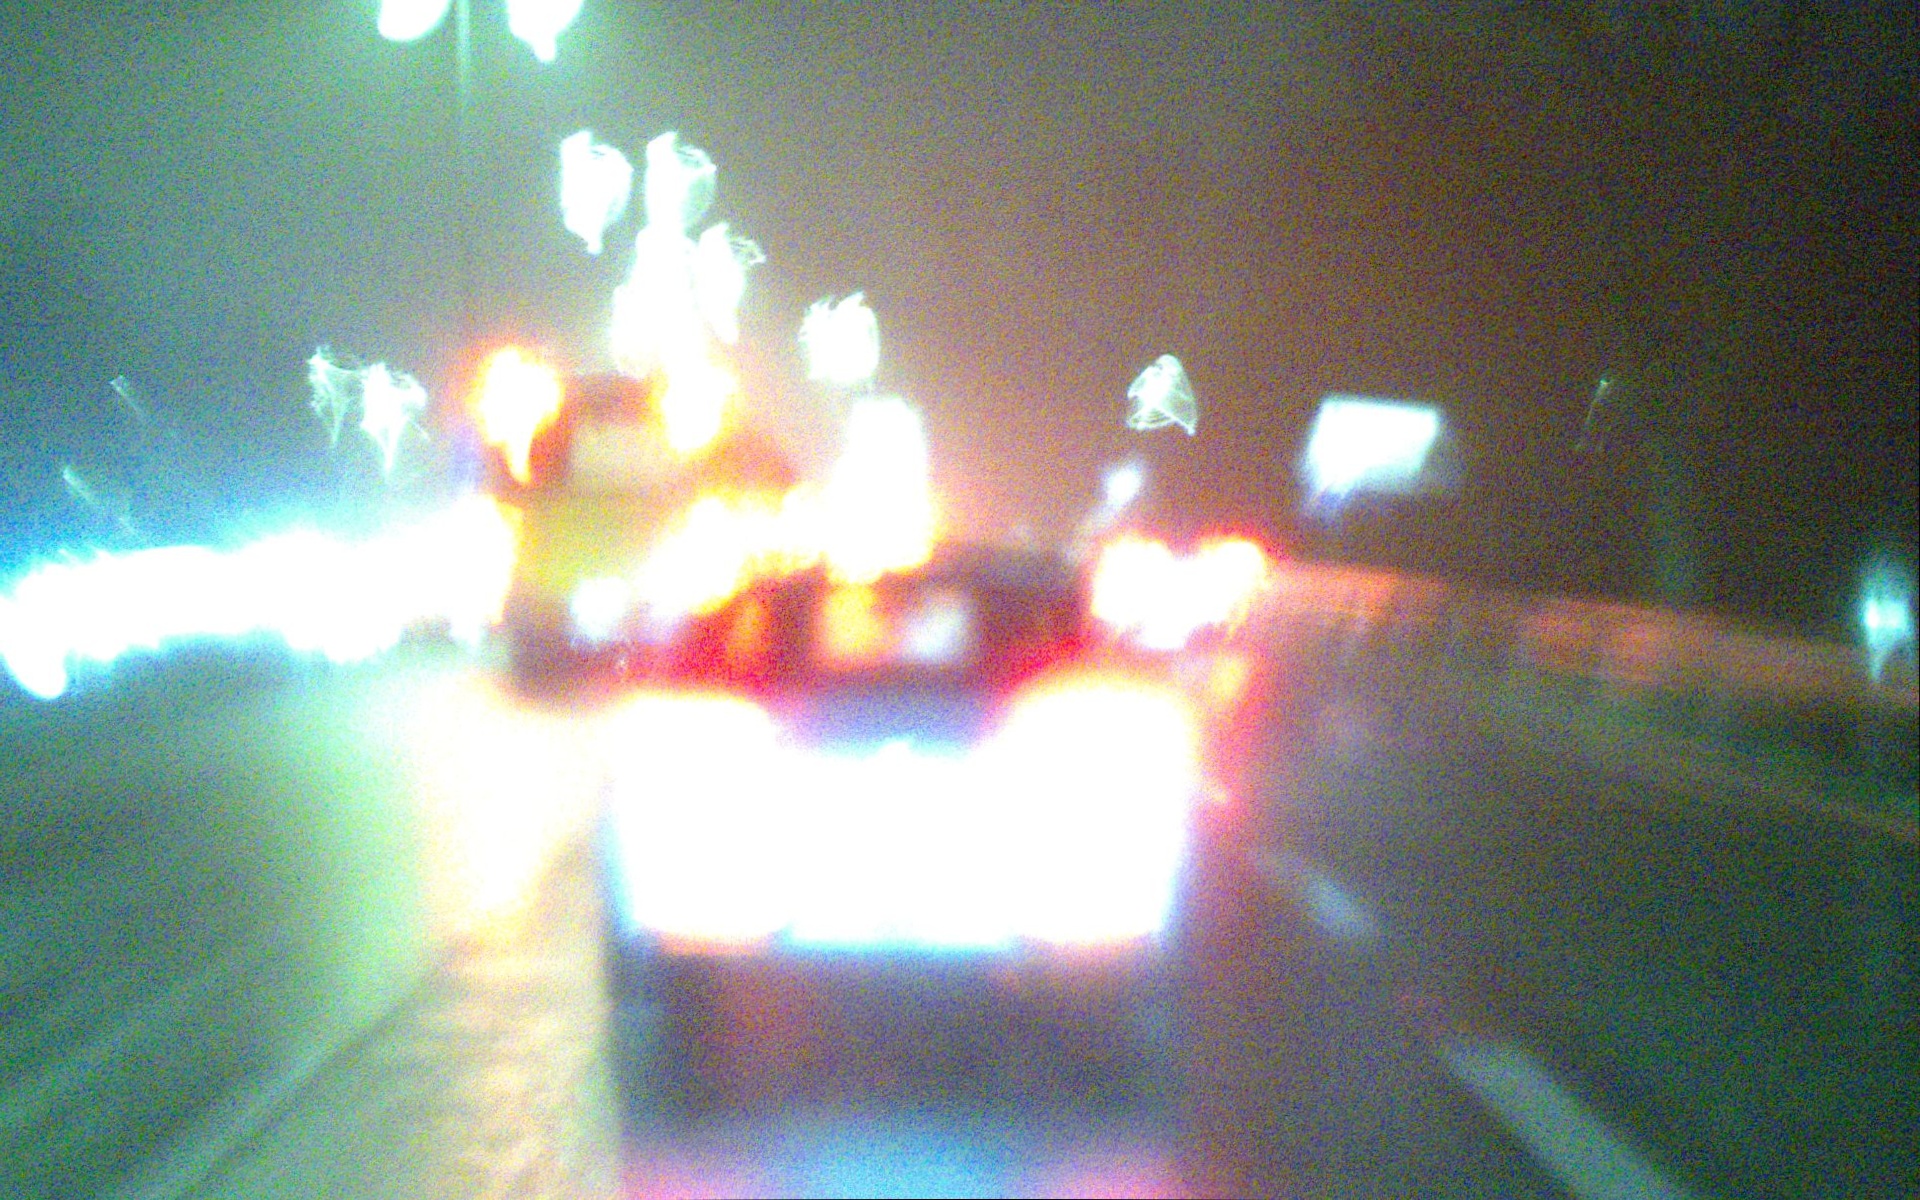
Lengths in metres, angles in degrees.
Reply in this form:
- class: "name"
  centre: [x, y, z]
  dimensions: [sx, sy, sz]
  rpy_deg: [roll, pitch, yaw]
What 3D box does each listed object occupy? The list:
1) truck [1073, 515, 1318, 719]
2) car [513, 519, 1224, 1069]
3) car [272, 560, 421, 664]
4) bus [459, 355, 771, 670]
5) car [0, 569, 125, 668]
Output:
- class: "truck"
  centre: [3.211, 0.225, 47.779]
  dimensions: [3.070, 2.520, 7.165]
  rpy_deg: [2, 0, 3]
- class: "car"
  centre: [-0.190, 0.507, 11.296]
  dimensions: [1.944, 1.486, 3.716]
  rpy_deg: [1, 1, 2]
- class: "car"
  centre: [-11.189, 0.212, 63.008]
  dimensions: [1.993, 1.768, 4.705]
  rpy_deg: [2, 0, -2]
- class: "bus"
  centre: [-3.758, -0.997, 39.525]
  dimensions: [2.743, 3.112, 9.202]
  rpy_deg: [2, 1, -1]
- class: "car"
  centre: [-14.947, 0.268, 54.966]
  dimensions: [2.023, 1.497, 4.897]
  rpy_deg: [2, 0, -1]
